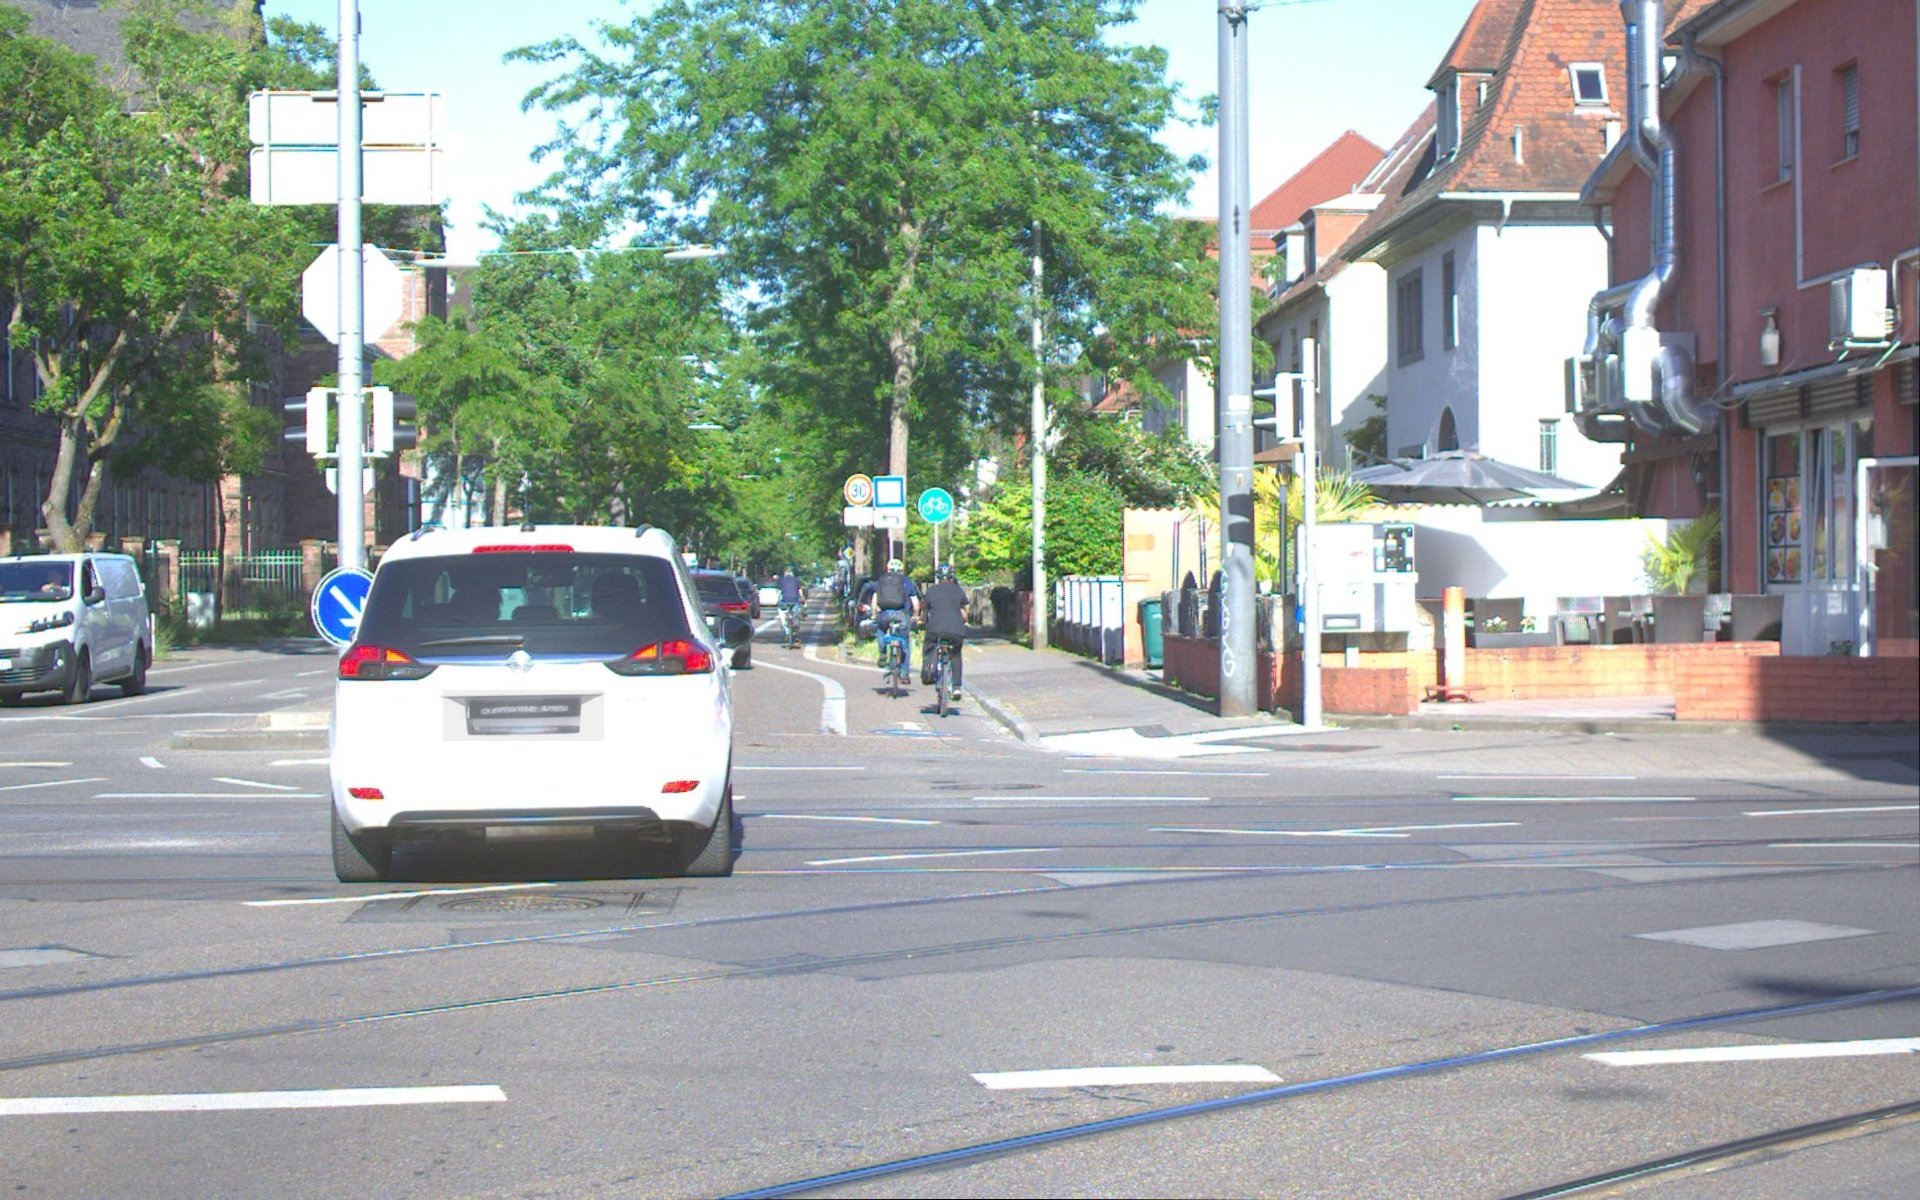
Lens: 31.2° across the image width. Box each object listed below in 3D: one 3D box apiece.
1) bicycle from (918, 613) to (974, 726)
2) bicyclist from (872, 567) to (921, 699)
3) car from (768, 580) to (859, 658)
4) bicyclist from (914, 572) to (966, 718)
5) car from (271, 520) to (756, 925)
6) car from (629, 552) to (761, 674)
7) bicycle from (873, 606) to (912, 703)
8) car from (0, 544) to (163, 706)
[{"bbox_3d":[-0.165,0.760,38.471,0.558,1.185,1.996,0,1,-2],"label":"bicycle"},{"bbox_3d":[-0.812,0.412,43.863,0.608,1.650,0.795,0,2,-2],"label":"bicyclist"},{"bbox_3d":[-3.469,0.425,82.177,1.991,1.659,4.124,3,1,-1],"label":"car"},{"bbox_3d":[-0.234,0.505,38.806,0.554,1.611,0.686,1,2,-2],"label":"bicyclist"},{"bbox_3d":[-2.052,0.489,16.981,1.962,1.659,4.250,3,1,-3],"label":"car"},{"bbox_3d":[-4.473,0.181,57.525,1.991,1.843,4.251,3,1,-6],"label":"car"},{"bbox_3d":[-0.868,0.683,44.049,0.471,1.185,1.996,0,1,-2],"label":"bicycle"},{"bbox_3d":[-11.750,0.289,43.674,2.158,1.922,5.303,-1,0,-2],"label":"car"}]
